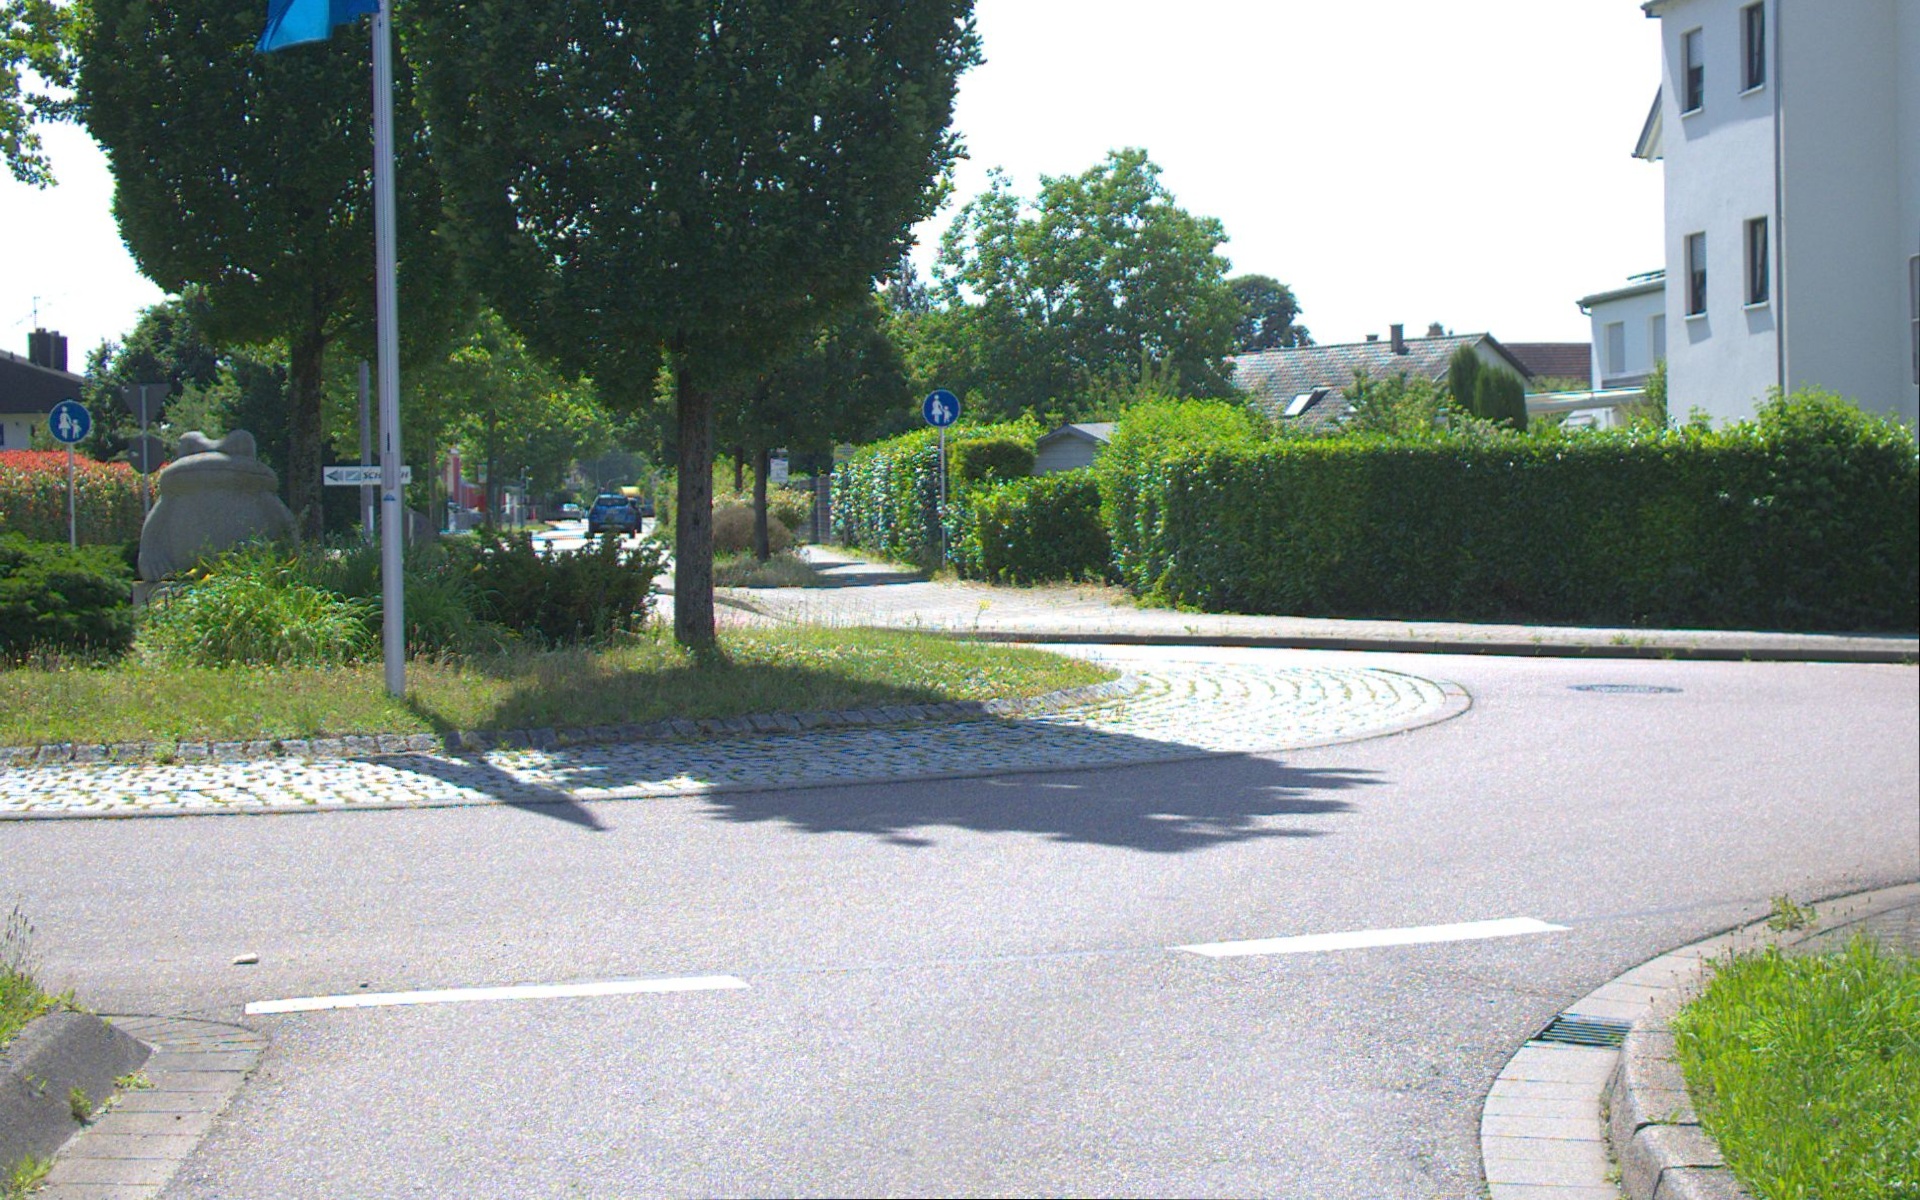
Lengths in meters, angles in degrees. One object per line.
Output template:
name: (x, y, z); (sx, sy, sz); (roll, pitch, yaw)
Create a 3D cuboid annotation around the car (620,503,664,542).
car: (-15.052, -3.669, 162.998); (1.993, 1.764, 4.001); (0, 1, -4)

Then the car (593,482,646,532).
car: (-12.901, -3.513, 130.374); (1.922, 1.879, 4.001); (0, 1, -5)
